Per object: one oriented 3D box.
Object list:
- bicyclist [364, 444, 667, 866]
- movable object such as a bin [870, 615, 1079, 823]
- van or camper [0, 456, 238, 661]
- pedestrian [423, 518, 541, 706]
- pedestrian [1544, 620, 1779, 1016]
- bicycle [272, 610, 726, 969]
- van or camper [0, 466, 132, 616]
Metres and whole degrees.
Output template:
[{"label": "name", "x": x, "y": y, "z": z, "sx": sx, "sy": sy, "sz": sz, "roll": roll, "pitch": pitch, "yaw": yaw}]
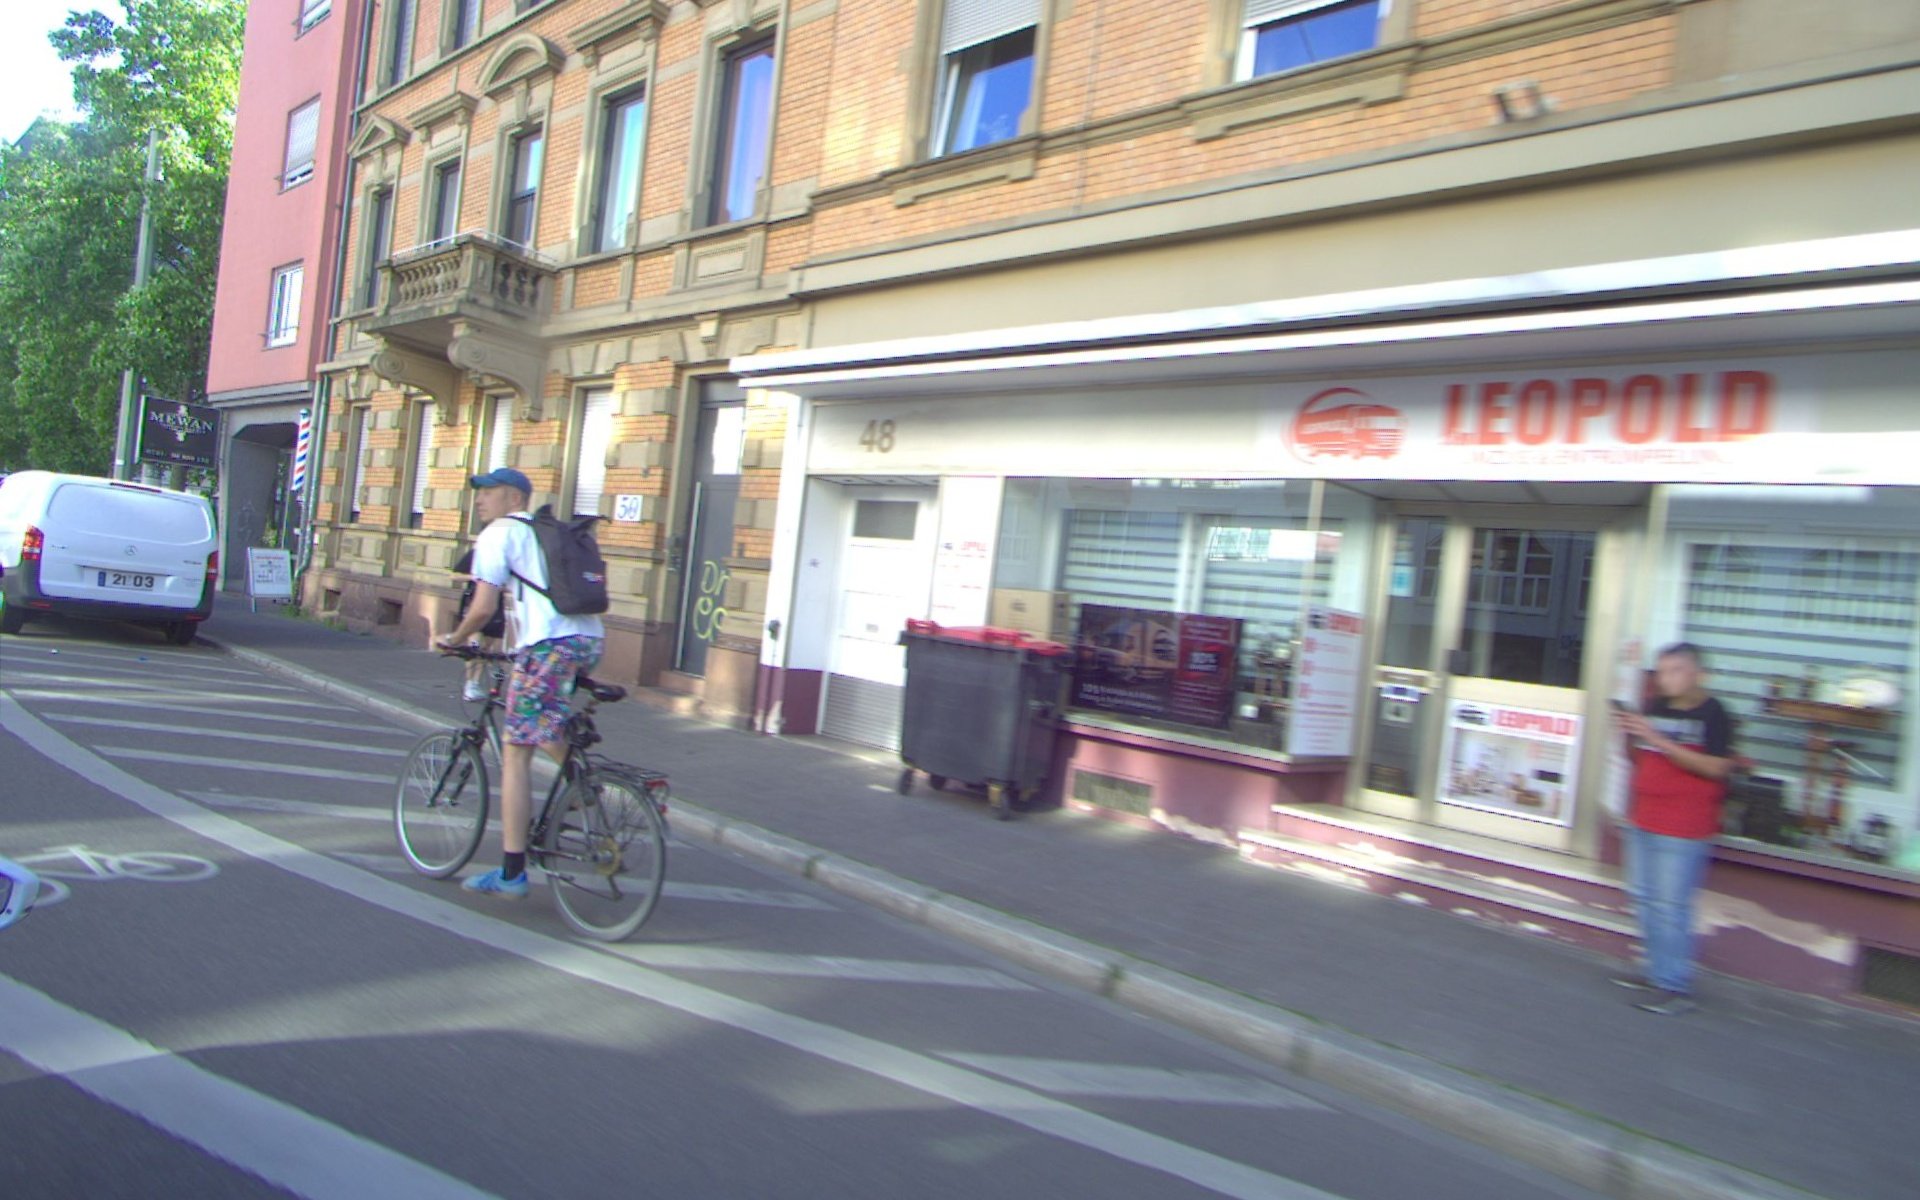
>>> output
[{"label": "bicyclist", "x": -1.982, "y": 0.213, "z": 4.514, "sx": 0.911, "sy": 1.675, "sz": 0.656, "roll": 6, "pitch": -1, "yaw": 28}, {"label": "movable object such as a bin", "x": 0.102, "y": 0.880, "z": 7.780, "sx": 1.280, "sy": 1.364, "sz": 0.775, "roll": 6, "pitch": -1, "yaw": 37}, {"label": "van or camper", "x": -11.563, "y": -0.572, "z": 13.097, "sx": 5.395, "sy": 2.060, "sz": 1.931, "roll": 5, "pitch": -3, "yaw": 38}, {"label": "pedestrian", "x": -4.939, "y": 0.127, "z": 10.403, "sx": 0.745, "sy": 1.836, "sz": 0.672, "roll": 6, "pitch": -1, "yaw": 38}, {"label": "pedestrian", "x": 3.329, "y": 1.003, "z": 4.813, "sx": 0.463, "sy": 1.750, "sz": 0.585, "roll": 6, "pitch": 1, "yaw": -15}, {"label": "bicycle", "x": -2.132, "y": 0.745, "z": 4.557, "sx": 2.059, "sy": 1.152, "sz": 0.649, "roll": 6, "pitch": -1, "yaw": 28}, {"label": "van or camper", "x": -16.062, "y": -1.094, "z": 16.931, "sx": 5.251, "sy": 2.069, "sz": 1.972, "roll": 6, "pitch": -3, "yaw": 37}]
